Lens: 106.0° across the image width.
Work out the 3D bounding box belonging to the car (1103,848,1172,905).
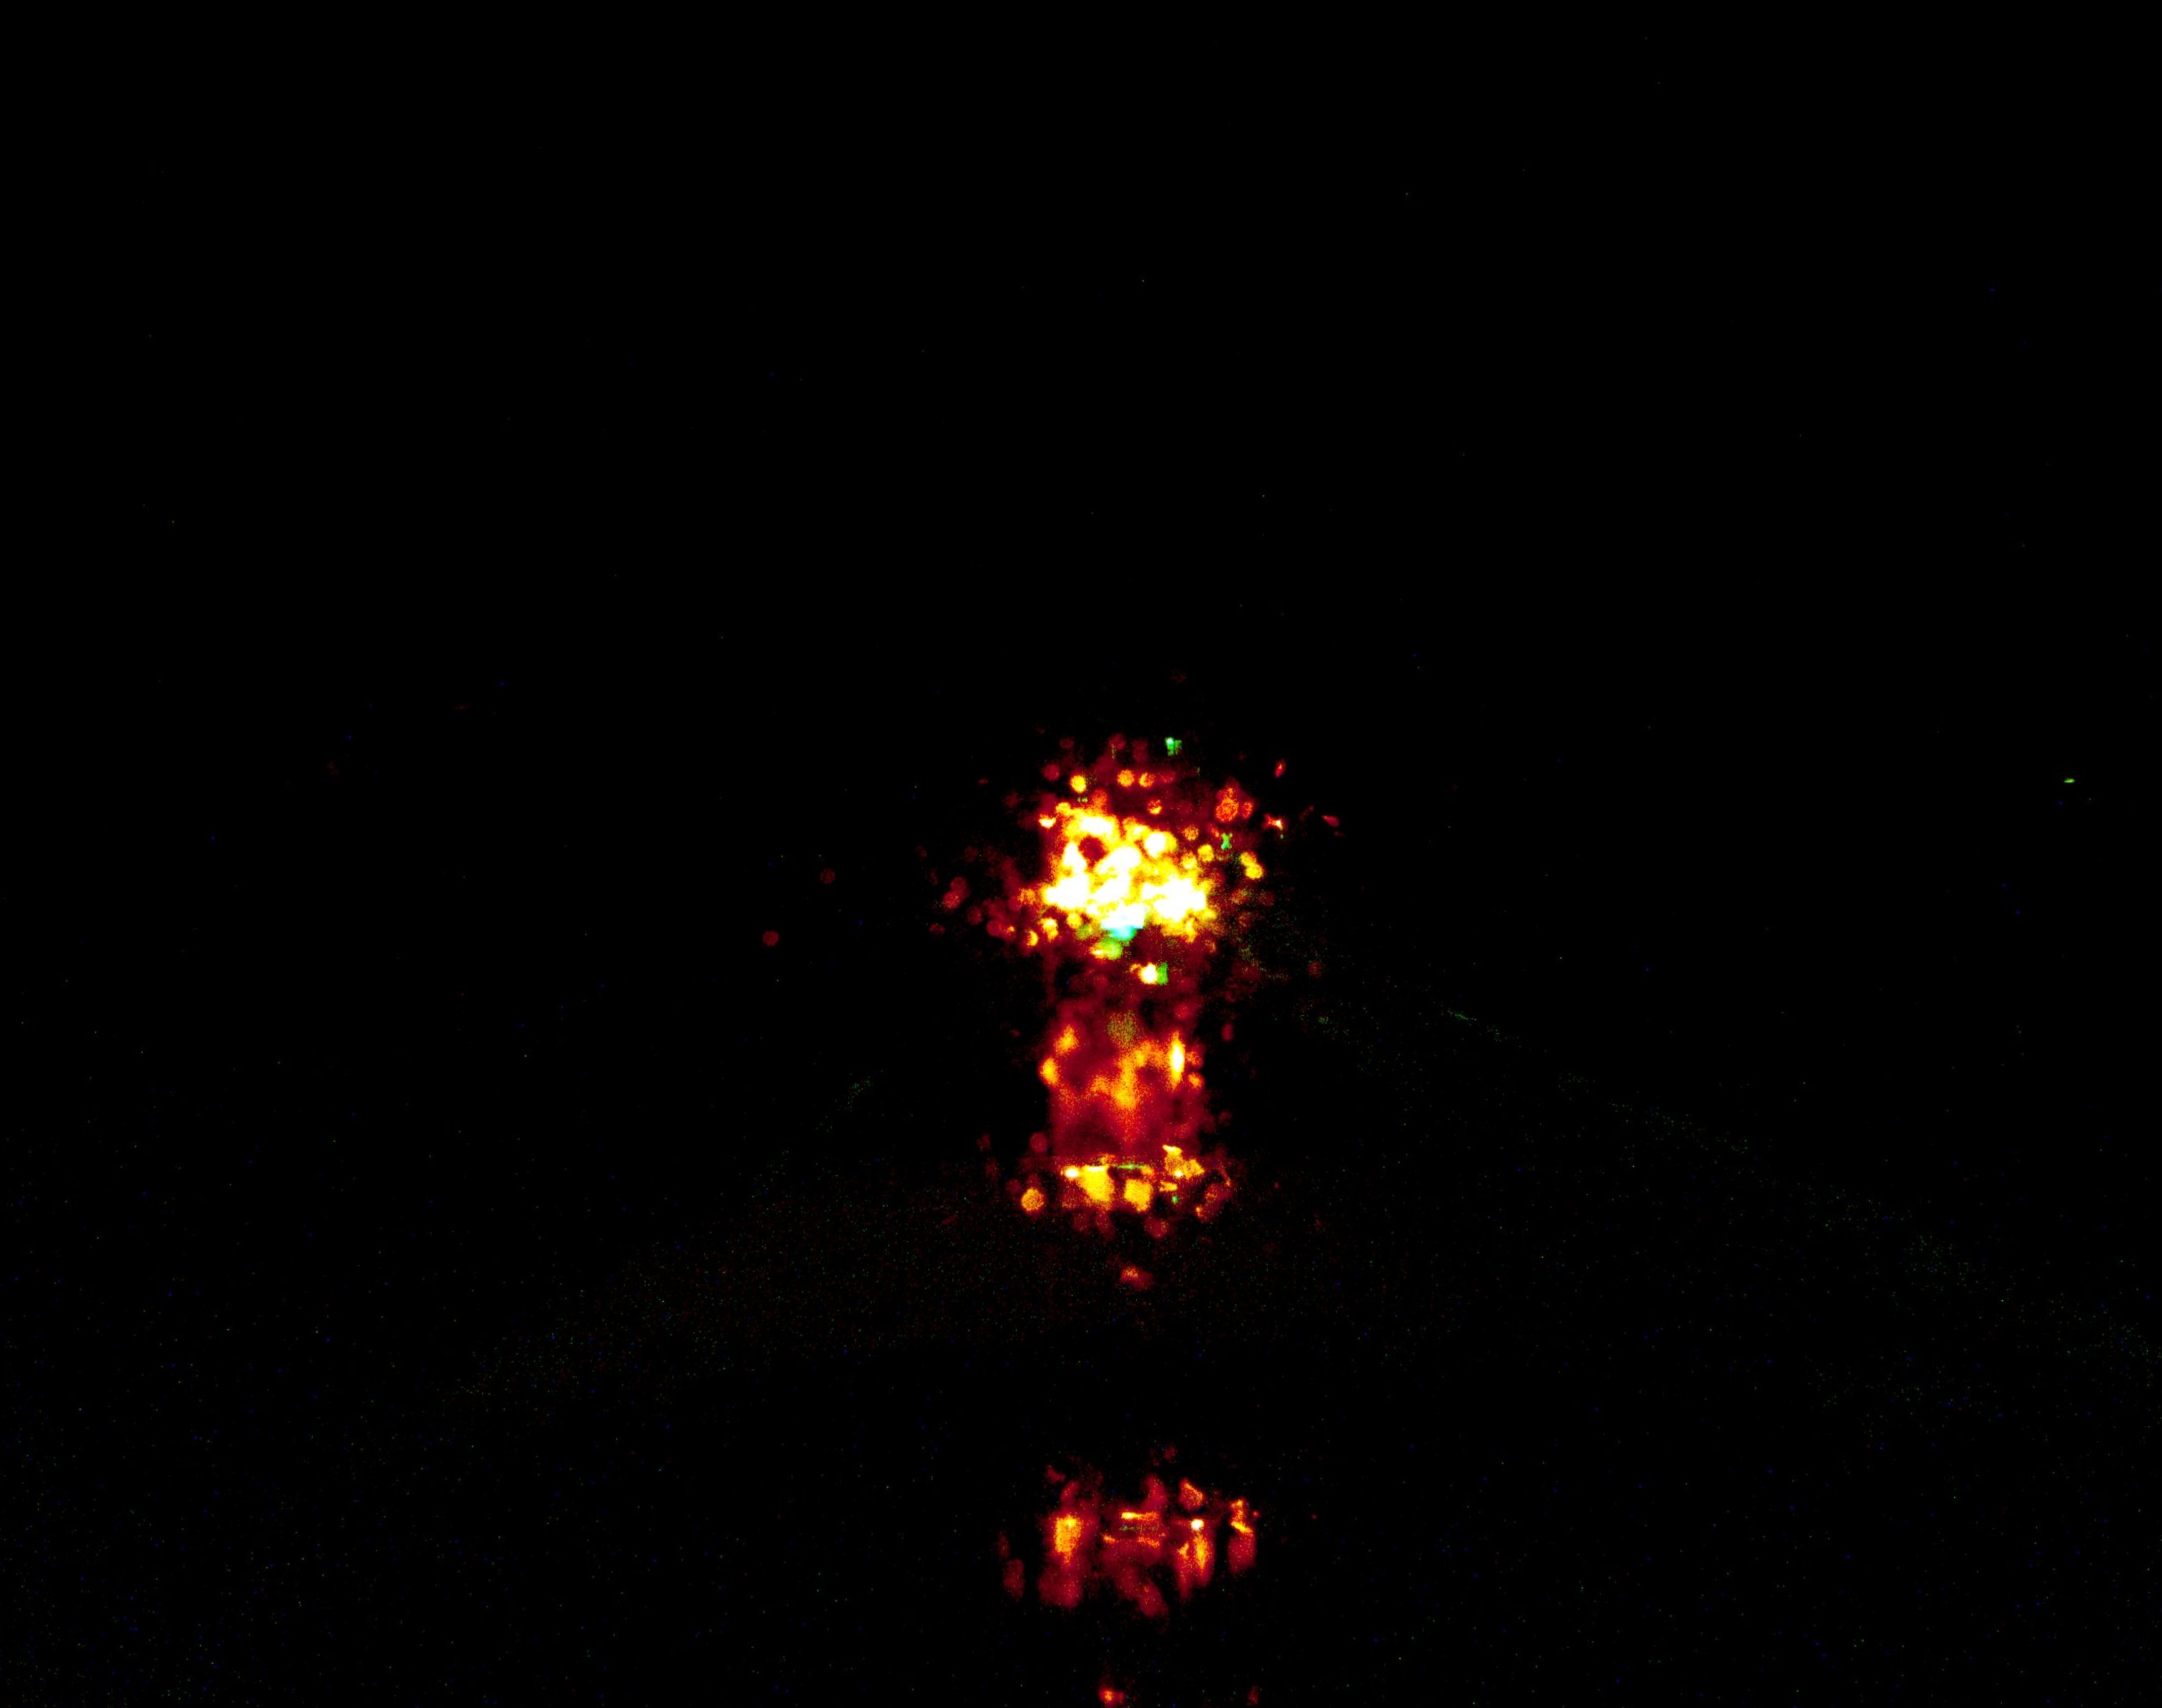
[{"bbox_3d":[1.680,0.580,23.115,1.735,1.415,4.007,-2,0,6],"label":"car"}]

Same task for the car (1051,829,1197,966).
[{"bbox_3d":[0.677,0.526,12.188,1.783,1.681,3.909,-2,0,4],"label":"car"}]

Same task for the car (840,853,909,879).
[{"bbox_3d":[-14.585,0.853,57.645,4.174,1.799,2.005,0,-1,10],"label":"car"}]
